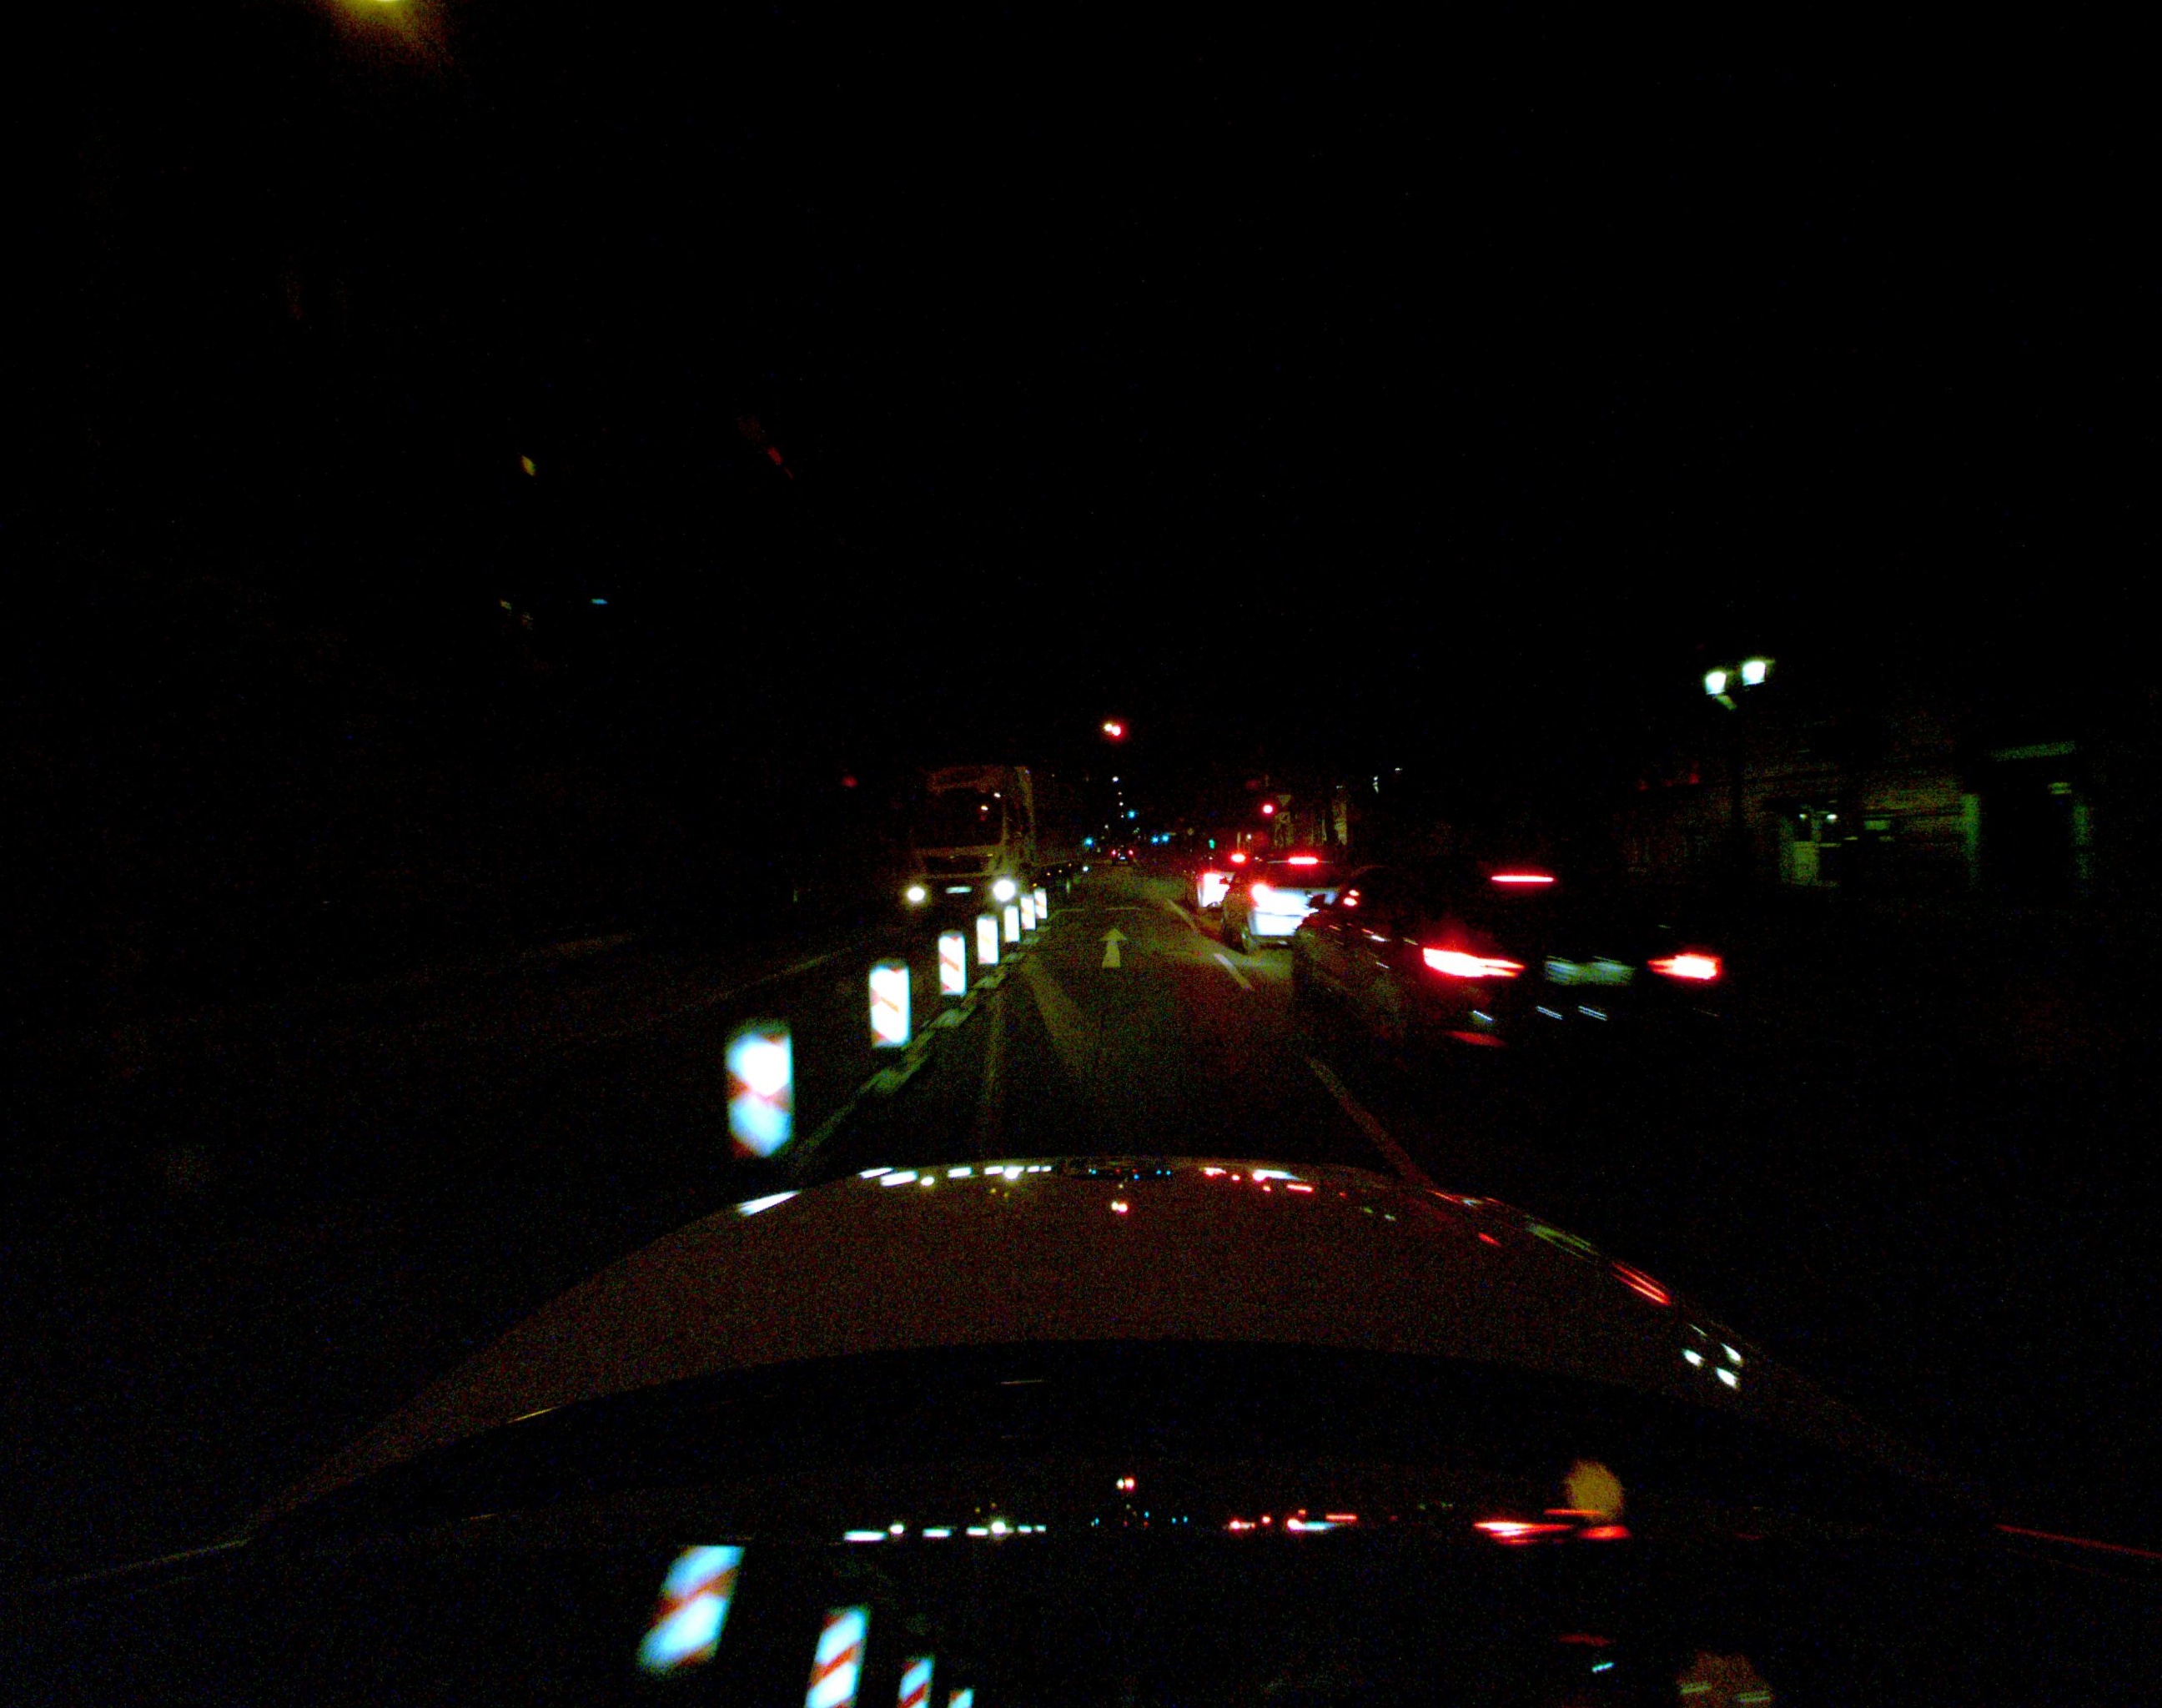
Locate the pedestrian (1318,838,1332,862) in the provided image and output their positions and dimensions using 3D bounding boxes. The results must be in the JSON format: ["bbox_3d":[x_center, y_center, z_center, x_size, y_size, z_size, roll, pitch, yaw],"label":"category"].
[{"bbox_3d":[18.080,-0.293,60.469,0.736,1.769,0.907,-2,0,3],"label":"pedestrian"}]

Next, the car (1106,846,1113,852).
[{"bbox_3d":[7.984,-1.441,228.166,1.771,1.390,4.001,-2,1,1],"label":"car"}]

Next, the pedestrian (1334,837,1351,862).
[{"bbox_3d":[19.334,-0.330,60.240,0.897,1.769,0.907,-2,0,2],"label":"pedestrian"}]

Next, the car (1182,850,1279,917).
[{"bbox_3d":[3.516,0.625,19.845,1.723,1.435,4.212,0,0,2],"label":"car"}]

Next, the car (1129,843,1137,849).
[{"bbox_3d":[15.444,-2.456,242.736,1.987,1.596,4.000,-2,0,0],"label":"car"}]

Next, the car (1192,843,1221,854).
[{"bbox_3d":[17.748,-0.751,115.220,3.967,1.386,1.774,-2,0,5],"label":"car"}]

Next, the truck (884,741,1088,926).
[{"bbox_3d":[-1.966,-0.468,21.982,2.739,3.717,10.137,-3,0,8],"label":"truck"}]

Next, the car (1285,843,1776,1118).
[{"bbox_3d":[3.075,0.687,6.887,1.797,1.494,4.734,1,0,4],"label":"car"}]

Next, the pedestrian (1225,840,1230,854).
[{"bbox_3d":[21.593,-1.021,119.784,0.529,2.013,0.670,-2,0,2],"label":"pedestrian"}]

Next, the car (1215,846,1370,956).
[{"bbox_3d":[3.225,0.630,13.158,1.631,1.494,4.003,0,0,3],"label":"car"}]

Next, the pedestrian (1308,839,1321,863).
[{"bbox_3d":[17.306,-0.224,60.329,0.711,1.769,0.907,-2,0,3],"label":"pedestrian"}]

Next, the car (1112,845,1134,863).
[{"bbox_3d":[4.044,0.006,78.615,1.986,1.640,4.001,-2,0,1],"label":"car"}]

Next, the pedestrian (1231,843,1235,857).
[{"bbox_3d":[22.371,-0.635,119.794,0.486,2.013,0.551,-2,0,2],"label":"pedestrian"}]
